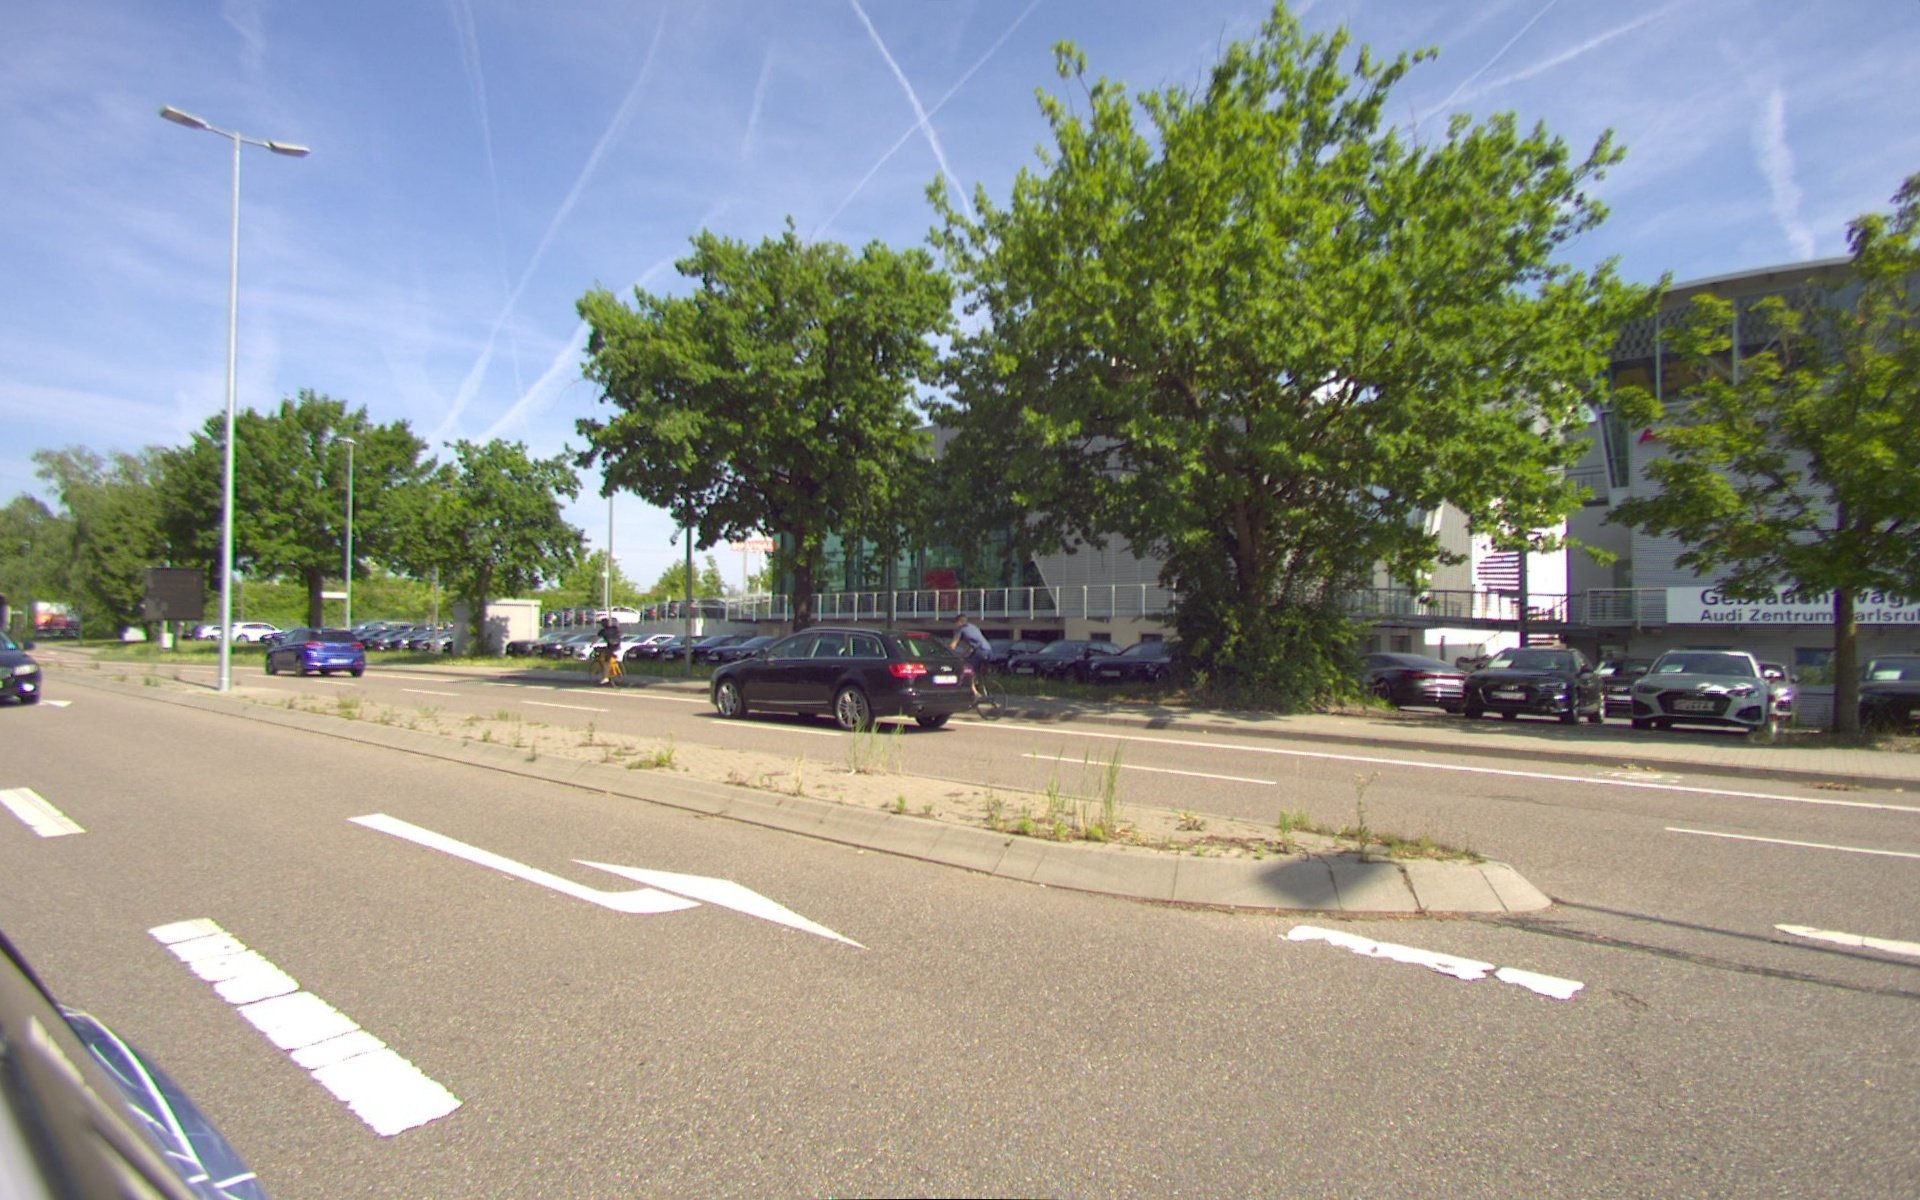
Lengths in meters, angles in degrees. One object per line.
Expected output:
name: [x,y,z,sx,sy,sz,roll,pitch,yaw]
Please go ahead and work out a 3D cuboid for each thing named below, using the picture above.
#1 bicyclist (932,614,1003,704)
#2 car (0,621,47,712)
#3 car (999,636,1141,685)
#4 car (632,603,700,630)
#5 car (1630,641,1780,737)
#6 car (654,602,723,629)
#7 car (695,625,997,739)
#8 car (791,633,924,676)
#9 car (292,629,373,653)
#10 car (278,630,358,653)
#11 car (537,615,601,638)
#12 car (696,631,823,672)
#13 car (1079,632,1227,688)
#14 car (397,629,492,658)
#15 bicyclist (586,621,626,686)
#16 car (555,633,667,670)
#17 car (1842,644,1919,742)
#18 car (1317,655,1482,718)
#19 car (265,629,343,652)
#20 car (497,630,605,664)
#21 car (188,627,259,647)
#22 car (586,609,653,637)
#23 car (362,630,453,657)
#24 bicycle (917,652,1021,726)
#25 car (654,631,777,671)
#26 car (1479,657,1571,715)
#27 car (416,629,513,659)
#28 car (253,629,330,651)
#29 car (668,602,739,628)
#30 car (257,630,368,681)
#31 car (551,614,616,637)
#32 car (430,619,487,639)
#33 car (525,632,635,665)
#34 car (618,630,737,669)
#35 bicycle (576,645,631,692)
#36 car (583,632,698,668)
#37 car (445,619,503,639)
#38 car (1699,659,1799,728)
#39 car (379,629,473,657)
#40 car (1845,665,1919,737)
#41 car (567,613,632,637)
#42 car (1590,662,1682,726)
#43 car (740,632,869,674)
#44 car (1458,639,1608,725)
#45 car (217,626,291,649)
bicyclist: [0.126,0.995,17.313,1.143,1.494,0.564,-2,-3,44]
car: [-18.381,1.191,18.378,4.861,1.533,1.860,-2,-1,38]
car: [3.026,1.643,27.078,1.694,1.143,4.142,-2,-6,41]
car: [-20.063,1.158,69.220,1.689,1.511,4.142,-2,-6,41]
car: [12.796,1.515,17.282,1.801,1.405,4.173,-1,-5,40]
car: [-18.060,1.071,67.360,1.689,1.511,4.142,-2,-6,41]
car: [-1.838,1.175,15.337,4.661,1.471,1.827,-2,-5,40]
car: [-3.197,1.763,32.275,1.689,1.204,4.142,-2,-6,41]
car: [-41.173,2.701,66.470,1.689,1.333,4.142,-2,-6,41]
car: [-43.145,2.778,68.076,1.689,1.333,4.142,-2,-6,41]
car: [-29.741,2.013,77.043,1.689,1.511,4.142,-2,-6,41]
car: [-6.971,1.826,35.519,1.689,1.264,4.142,-2,-6,41]
car: [4.909,1.533,25.363,1.796,1.236,4.142,-2,-6,41]
car: [-27.503,2.359,54.072,1.689,1.333,4.142,-2,-6,41]
bicyclist: [-9.052,1.364,25.852,0.910,1.609,0.570,-2,-4,43]
car: [-14.632,2.185,42.588,1.689,1.335,4.142,-2,-6,41]
car: [14.894,1.451,15.551,1.833,1.365,4.069,-1,-5,39]
car: [10.271,1.984,23.981,1.662,1.343,3.848,1,-3,-11]
car: [-45.090,2.796,69.647,1.689,1.333,4.142,-2,-6,41]
car: [-18.488,2.133,45.878,1.689,1.333,4.142,-2,-6,41]
car: [-57.774,2.908,79.434,1.689,1.389,4.142,-2,-6,41]
car: [-24.285,1.664,72.236,1.689,1.745,4.142,-2,-6,41]
car: [-31.320,2.476,57.464,1.689,1.333,4.142,-2,-6,41]
bicycle: [0.134,1.484,17.284,1.925,1.159,0.565,-2,-3,44]
car: [-8.955,1.903,37.345,1.689,1.269,4.142,-2,-6,41]
car: [16.112,2.380,28.776,1.688,1.448,3.780,-2,-3,38]
car: [-25.587,2.292,52.399,1.689,1.333,4.142,-2,-6,41]
car: [-47.181,2.811,71.495,1.689,1.333,4.142,-2,-6,41]
car: [-16.498,0.987,65.144,1.689,1.416,4.142,-2,-6,41]
car: [-19.903,1.696,31.075,3.866,1.449,1.711,-2,-5,40]
car: [-28.064,1.925,75.485,1.689,1.511,4.142,-2,-6,41]
car: [-44.471,2.621,89.808,1.689,1.511,4.142,-2,-6,41]
car: [-16.590,2.126,44.300,1.689,1.256,4.142,-2,-6,41]
car: [-10.866,1.944,39.166,1.689,1.309,4.142,-2,-6,41]
bicycle: [-9.131,1.733,25.906,1.770,1.159,0.565,-2,-4,44]
car: [-12.863,2.041,40.962,1.689,1.265,4.142,-2,-6,41]
car: [-41.905,2.514,87.342,1.689,1.511,4.142,-2,-6,41]
car: [19.850,2.279,25.414,1.803,1.484,3.778,-2,-3,40]
car: [-29.218,2.395,55.471,1.689,1.333,4.142,-2,-6,41]
car: [21.850,2.299,23.609,1.689,1.484,3.622,-2,-3,40]
car: [-26.293,1.865,73.968,1.689,1.511,4.142,-2,-6,41]
car: [18.051,2.448,26.951,1.688,1.484,3.779,-2,-3,39]
car: [-5.125,1.800,33.794,1.689,1.215,4.142,-2,-6,41]
car: [10.851,1.550,19.050,1.807,1.413,3.984,-1,-5,39]
car: [-51.847,2.785,74.395,1.689,1.511,4.142,-2,-6,41]
